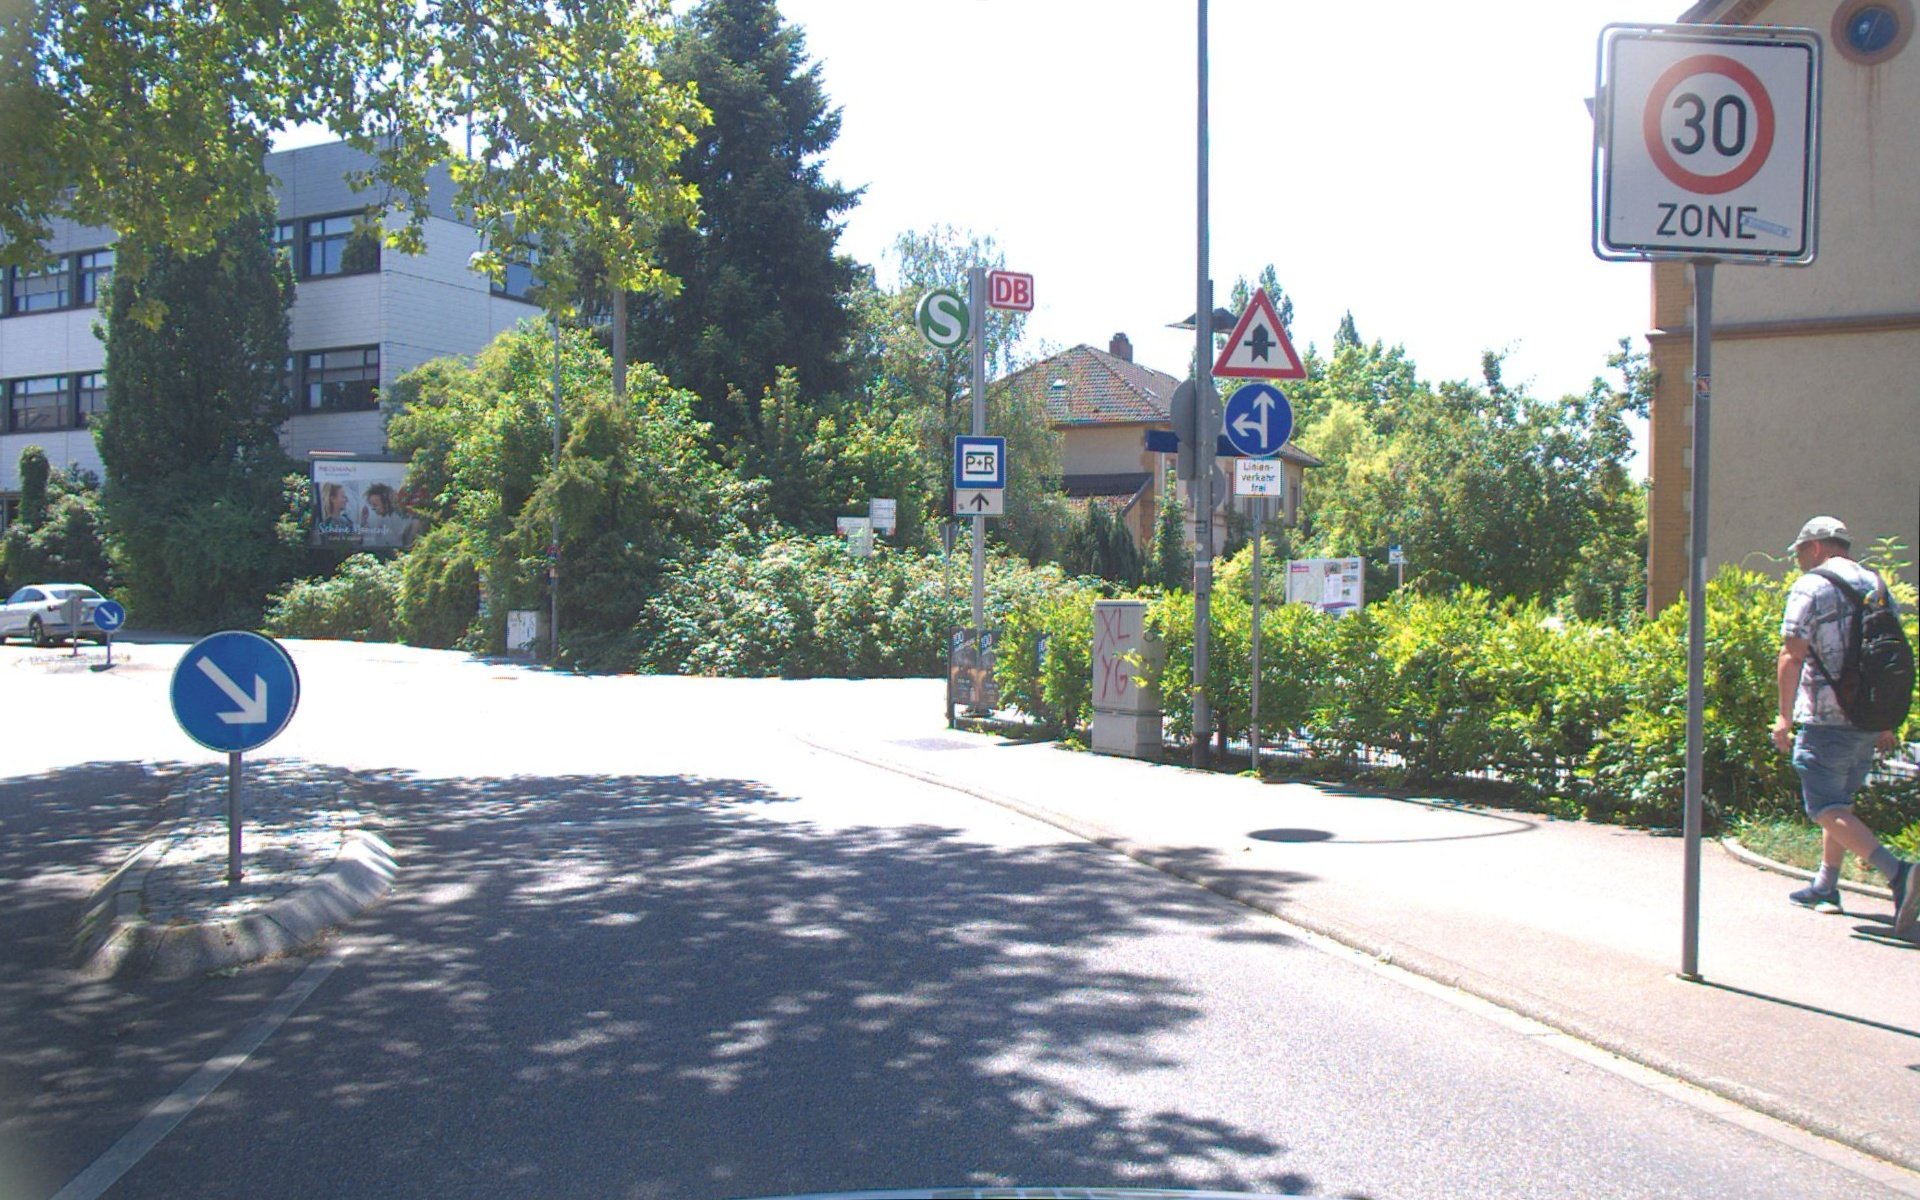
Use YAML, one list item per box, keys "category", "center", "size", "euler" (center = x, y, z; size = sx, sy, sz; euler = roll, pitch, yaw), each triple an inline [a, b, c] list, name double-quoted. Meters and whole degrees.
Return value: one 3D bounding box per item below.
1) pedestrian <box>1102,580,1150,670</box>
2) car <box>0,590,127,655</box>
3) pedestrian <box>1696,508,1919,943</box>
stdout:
- category: "pedestrian"
  center: [3.112, 0.460, 31.039]
  size: [0.608, 1.656, 0.694]
  euler: [0, 1, -29]
- category: "car"
  center: [-25.090, 0.595, 45.899]
  size: [4.387, 1.642, 1.933]
  euler: [2, 1, 39]
- category: "pedestrian"
  center: [3.980, 0.517, 7.396]
  size: [0.896, 1.803, 0.913]
  euler: [0, 0, -12]
